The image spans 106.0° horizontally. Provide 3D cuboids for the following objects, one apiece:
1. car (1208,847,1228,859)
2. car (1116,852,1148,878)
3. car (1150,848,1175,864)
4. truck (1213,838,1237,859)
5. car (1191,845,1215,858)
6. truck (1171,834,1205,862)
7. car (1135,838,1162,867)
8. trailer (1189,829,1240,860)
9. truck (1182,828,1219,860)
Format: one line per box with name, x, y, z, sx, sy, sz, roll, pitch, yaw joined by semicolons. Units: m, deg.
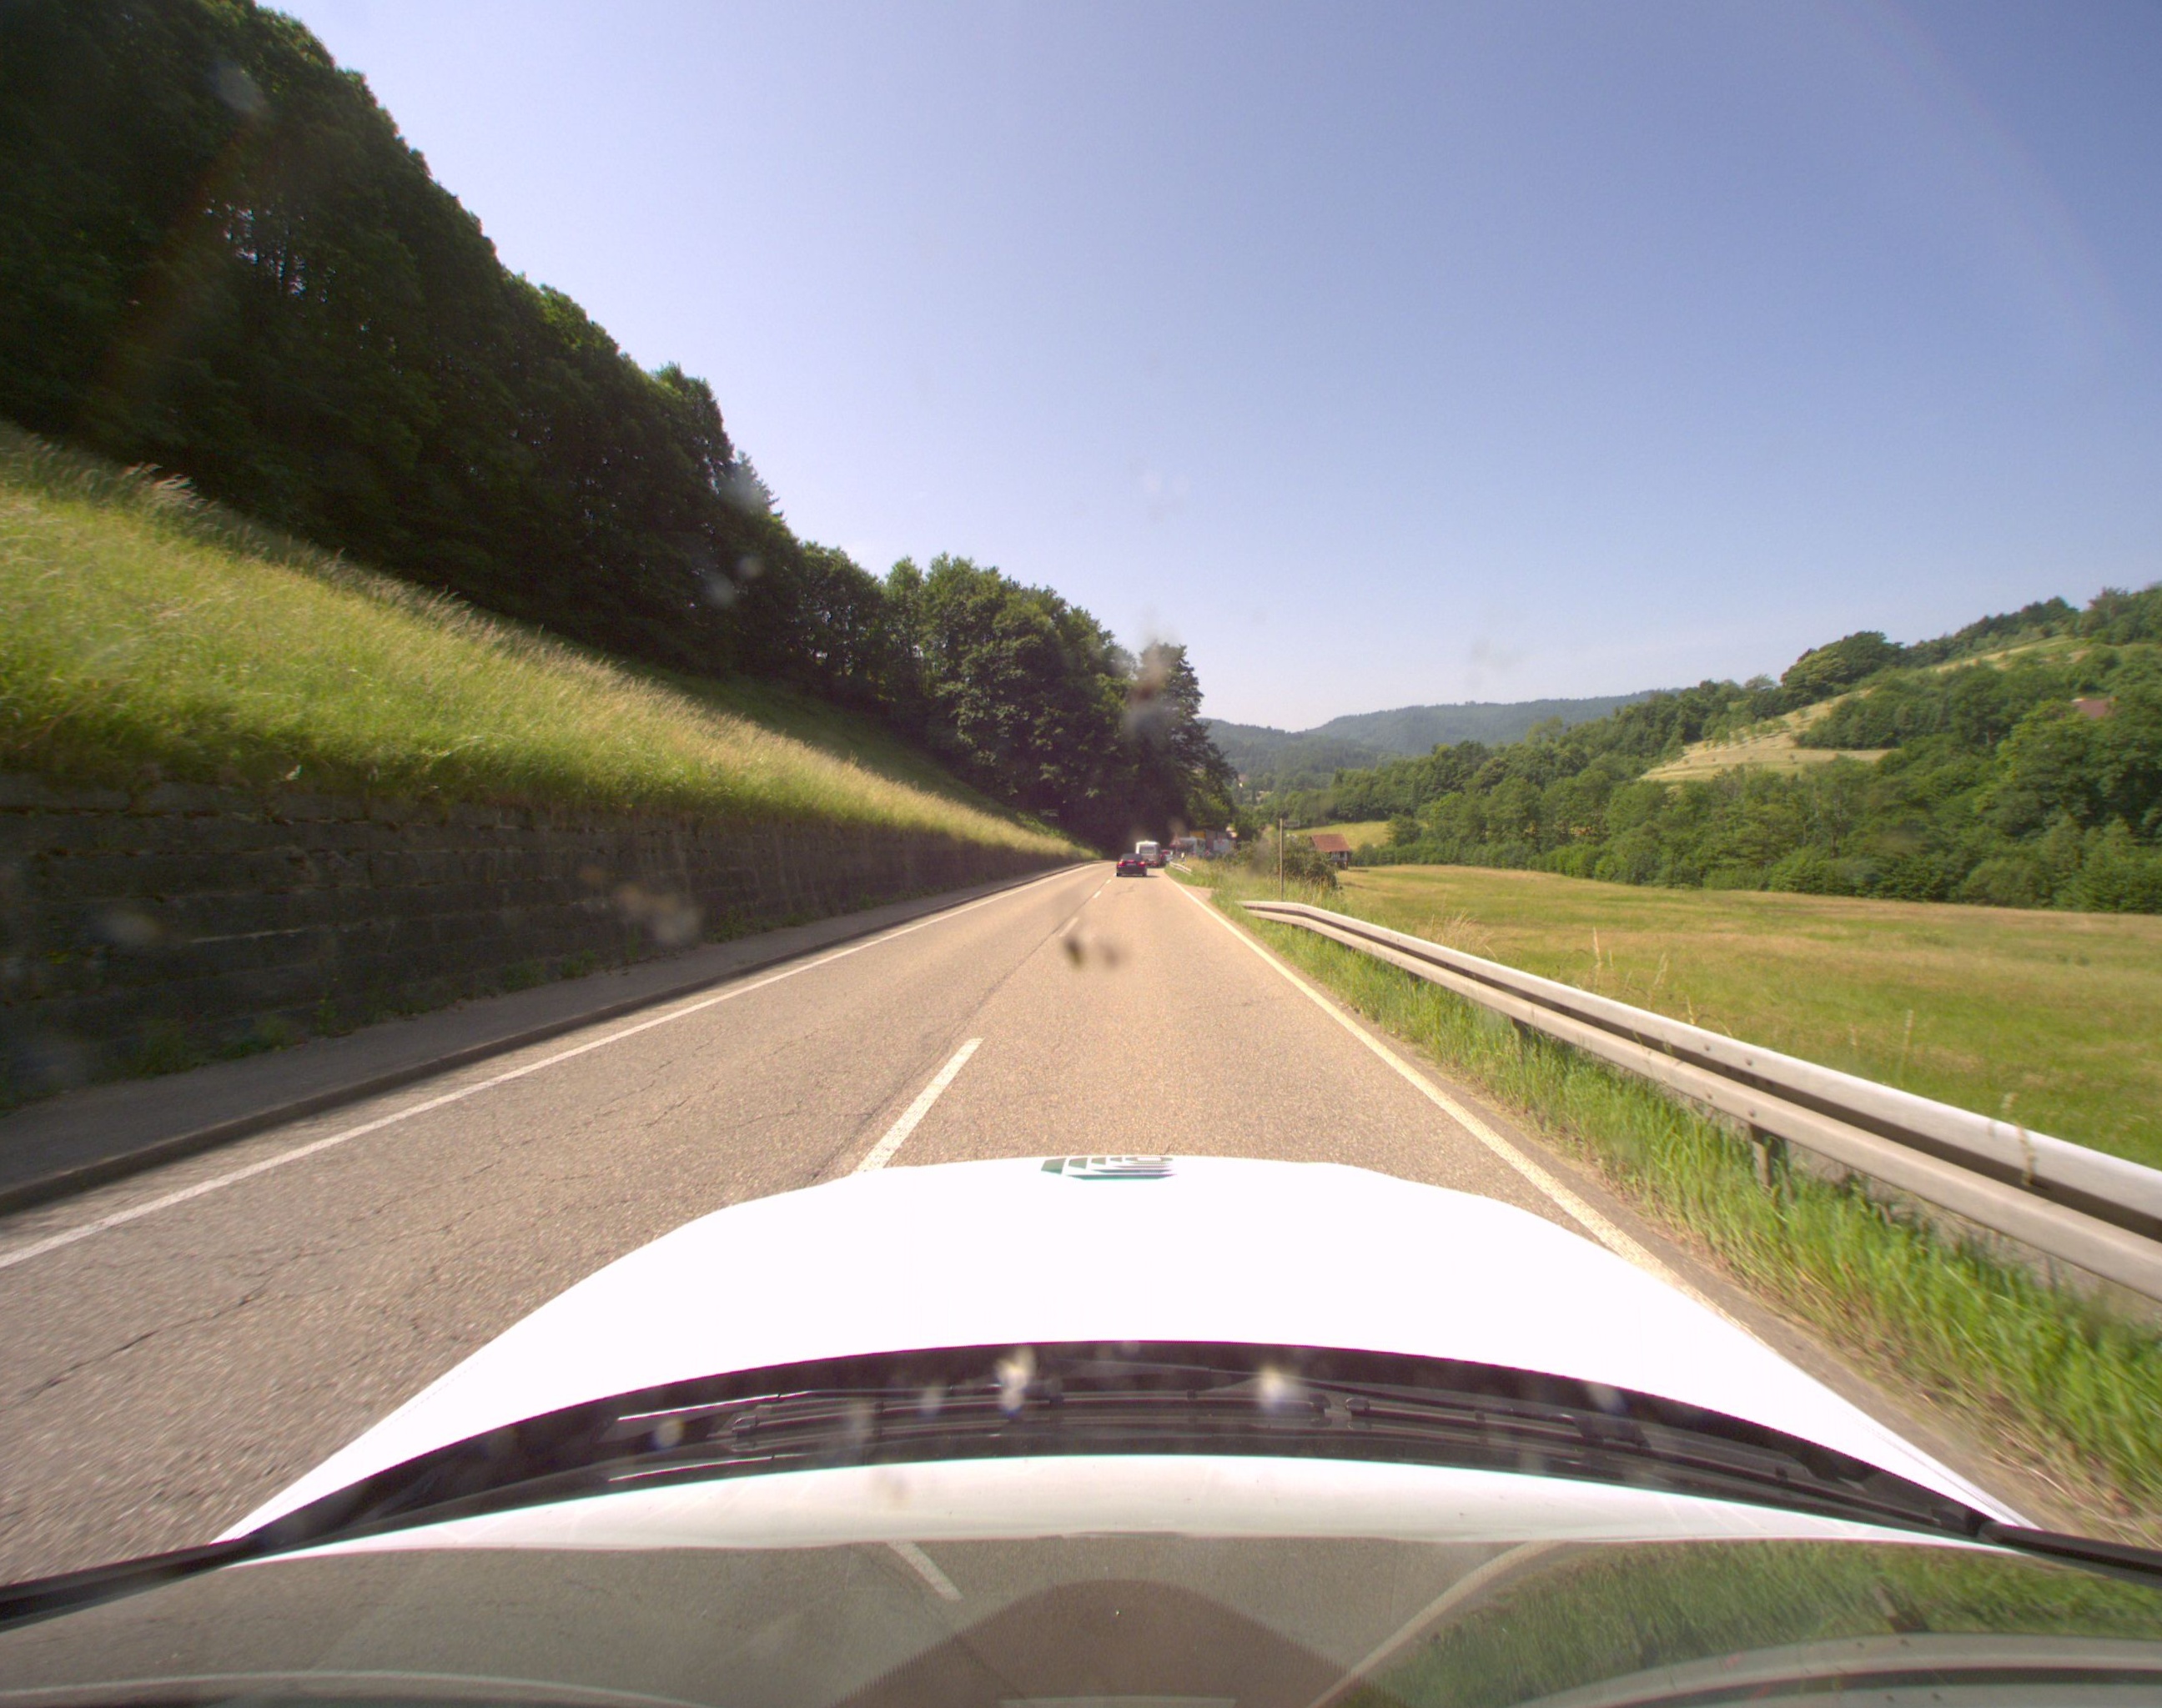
car;18.447;-0.201;109.567;1.772;1.463;4.022;3;2;23
car;2.981;0.601;47.474;1.763;1.335;3.771;1;2;4
car;8.338;0.163;82.752;1.980;1.484;4.014;3;1;13
truck;20.564;-0.758;116.060;2.219;2.804;6.263;2;0;20
car;15.420;-0.301;102.853;1.977;1.463;4.021;3;2;22
truck;12.490;-0.775;94.735;2.770;2.997;6.897;3;2;16
car;5.856;-0.203;70.360;1.983;2.352;4.925;1;2;8
trailer;20.445;-1.404;123.354;3.230;4.417;15.405;2;1;26
truck;17.083;-1.472;116.229;3.159;4.396;6.610;2;2;26
